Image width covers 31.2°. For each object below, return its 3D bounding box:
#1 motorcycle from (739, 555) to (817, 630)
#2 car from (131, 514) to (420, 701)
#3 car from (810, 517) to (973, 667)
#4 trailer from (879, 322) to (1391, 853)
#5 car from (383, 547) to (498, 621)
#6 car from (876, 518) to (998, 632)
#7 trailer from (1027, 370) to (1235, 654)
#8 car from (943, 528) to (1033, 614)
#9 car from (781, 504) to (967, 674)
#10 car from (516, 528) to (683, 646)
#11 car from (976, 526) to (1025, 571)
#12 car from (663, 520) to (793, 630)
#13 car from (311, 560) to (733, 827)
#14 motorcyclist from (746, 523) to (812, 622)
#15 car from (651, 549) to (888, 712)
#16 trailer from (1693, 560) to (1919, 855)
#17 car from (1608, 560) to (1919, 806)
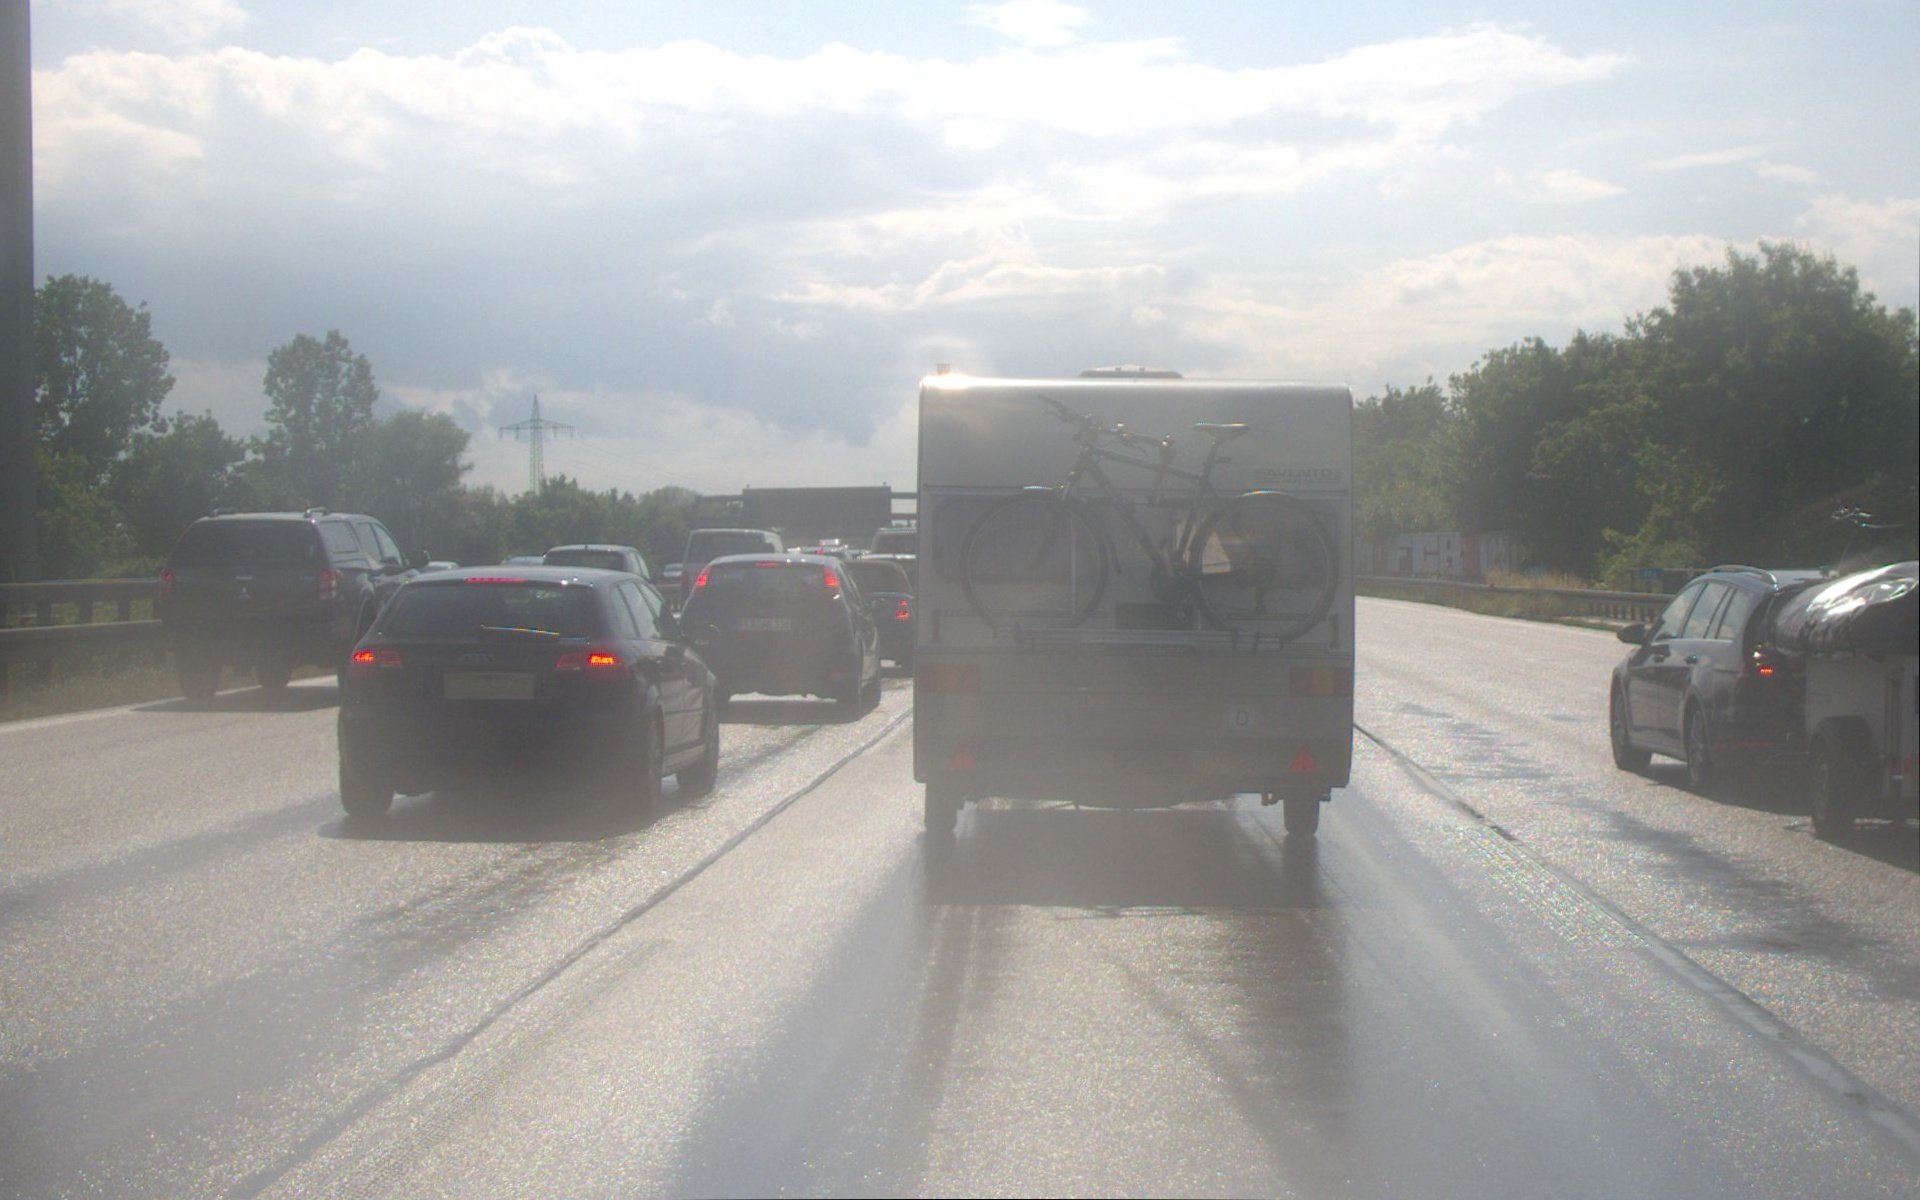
[{"bbox_3d":[-3.165,-0.139,59.986,1.074,1.267,2.690,1,1,3],"label":"motorcycle"},{"bbox_3d":[-6.738,0.049,34.260,1.993,1.714,4.000,1,1,1],"label":"car"},{"bbox_3d":[-0.971,-0.145,51.064,1.994,2.007,4.000,4,1,3],"label":"car"},{"bbox_3d":[0.953,-0.094,19.571,2.374,2.475,6.523,1,1,2],"label":"trailer"},{"bbox_3d":[-11.675,-0.375,77.419,1.993,1.618,4.000,0,1,0],"label":"car"},{"bbox_3d":[-0.393,-0.480,64.797,1.994,2.007,4.000,2,1,3],"label":"car"},{"bbox_3d":[2.863,-1.353,55.070,3.007,4.152,8.535,1,1,4],"label":"trailer"},{"bbox_3d":[0.715,-0.720,84.442,1.994,2.007,4.000,2,1,3],"label":"car"},{"bbox_3d":[-1.033,-0.158,43.379,1.994,2.007,4.000,1,1,3],"label":"car"},{"bbox_3d":[-5.621,-0.226,54.032,1.994,1.766,4.000,1,1,3],"label":"car"},{"bbox_3d":[1.621,-2.078,139.691,1.876,1.754,4.000,1,1,0],"label":"car"},{"bbox_3d":[-4.622,-0.513,68.919,1.994,2.007,4.000,4,1,3],"label":"car"},{"bbox_3d":[-2.450,0.470,20.138,1.757,1.382,3.945,0,1,3],"label":"car"},{"bbox_3d":[-3.162,-0.481,60.053,1.064,1.712,0.785,1,0,3],"label":"motorcyclist"},{"bbox_3d":[-1.728,0.248,32.325,1.806,1.402,4.000,1,1,3],"label":"car"},{"bbox_3d":[5.357,0.511,19.033,1.855,1.437,4.147,0,1,2],"label":"trailer"},{"bbox_3d":[5.495,0.468,22.494,1.855,1.437,4.258,0,1,2],"label":"car"}]
